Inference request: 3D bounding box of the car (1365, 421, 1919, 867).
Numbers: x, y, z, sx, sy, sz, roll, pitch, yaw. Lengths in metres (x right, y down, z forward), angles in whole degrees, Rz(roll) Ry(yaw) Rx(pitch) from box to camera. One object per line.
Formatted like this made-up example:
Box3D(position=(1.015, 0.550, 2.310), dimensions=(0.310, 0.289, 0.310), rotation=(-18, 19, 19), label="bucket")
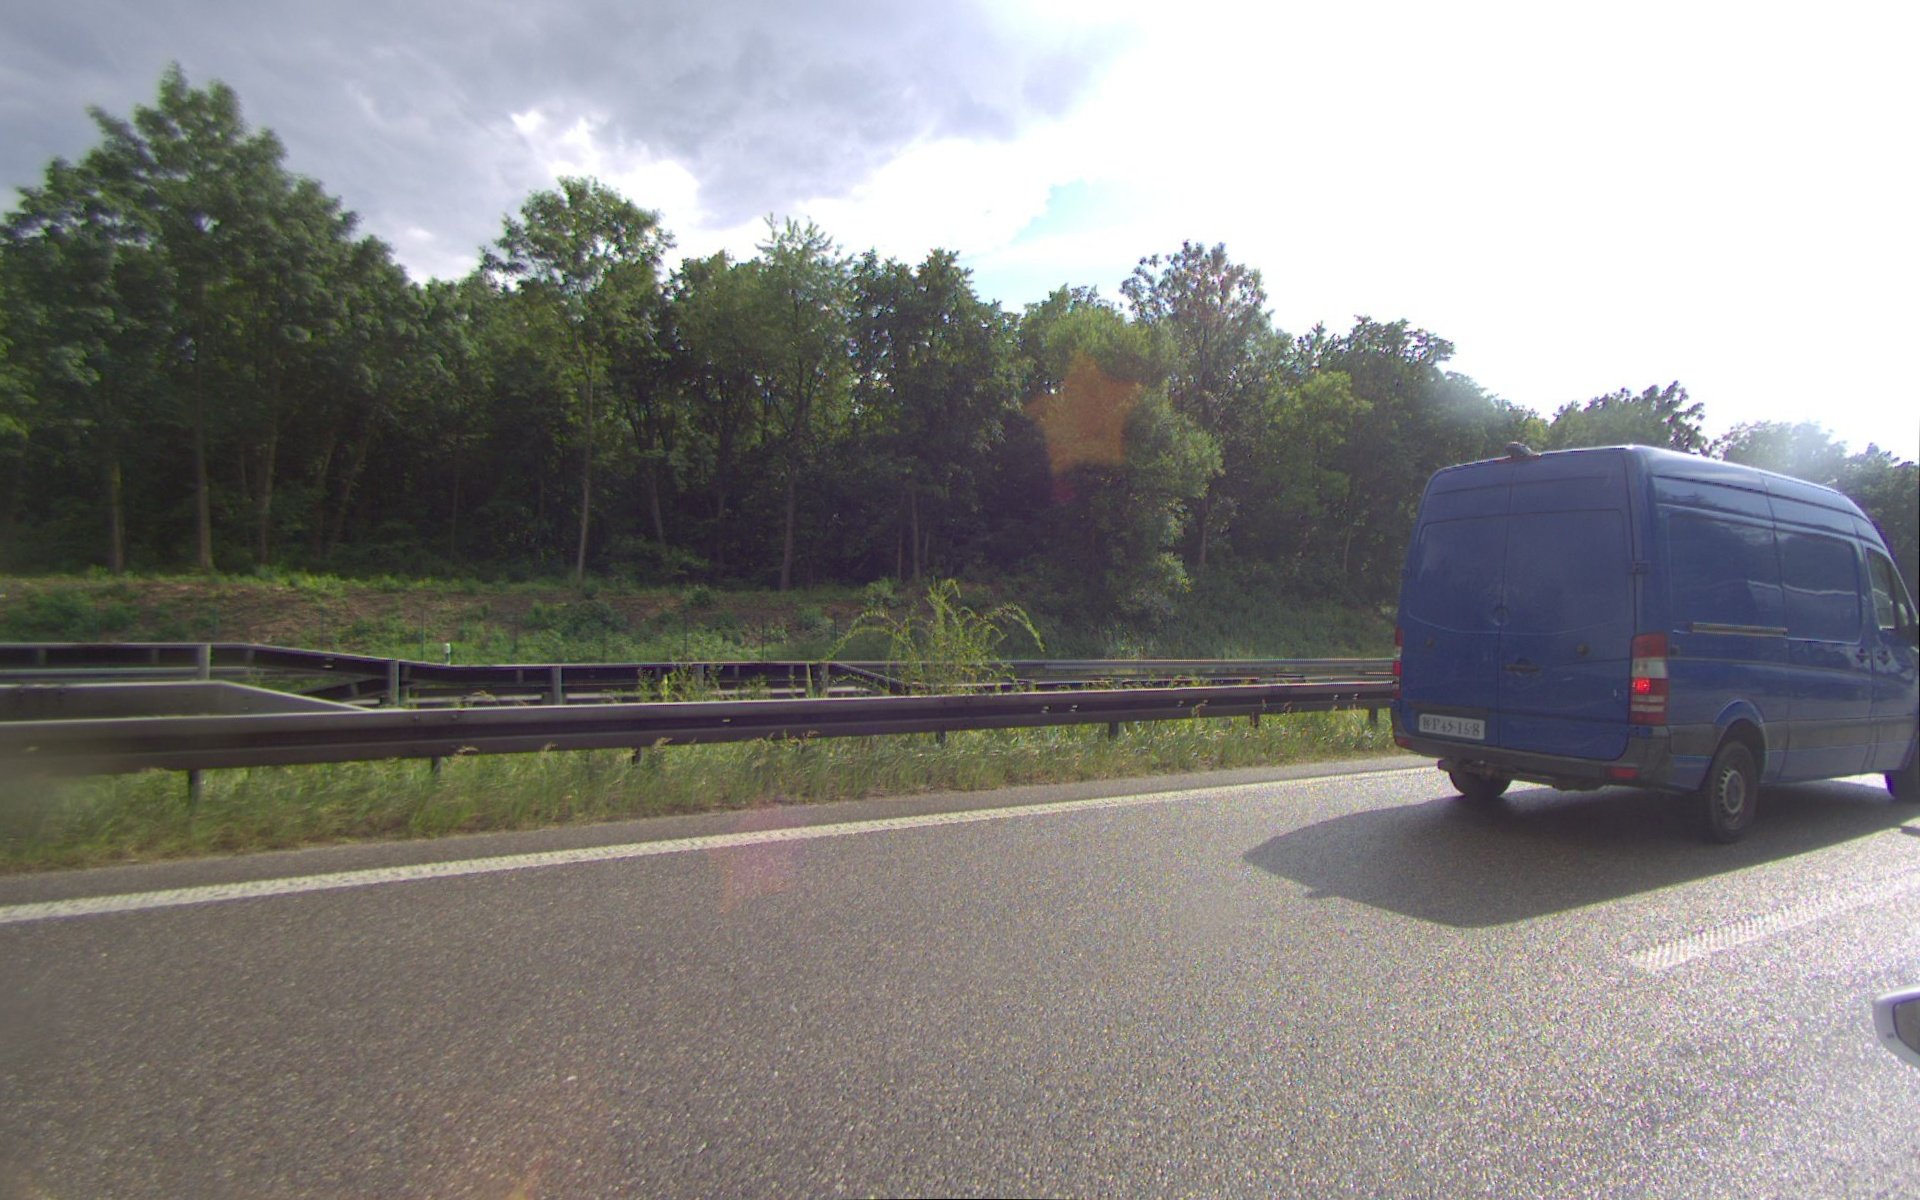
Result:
Box3D(position=(6.110, 0.335, 8.382), dimensions=(5.710, 2.684, 2.005), rotation=(2, 0, -31), label="car")
